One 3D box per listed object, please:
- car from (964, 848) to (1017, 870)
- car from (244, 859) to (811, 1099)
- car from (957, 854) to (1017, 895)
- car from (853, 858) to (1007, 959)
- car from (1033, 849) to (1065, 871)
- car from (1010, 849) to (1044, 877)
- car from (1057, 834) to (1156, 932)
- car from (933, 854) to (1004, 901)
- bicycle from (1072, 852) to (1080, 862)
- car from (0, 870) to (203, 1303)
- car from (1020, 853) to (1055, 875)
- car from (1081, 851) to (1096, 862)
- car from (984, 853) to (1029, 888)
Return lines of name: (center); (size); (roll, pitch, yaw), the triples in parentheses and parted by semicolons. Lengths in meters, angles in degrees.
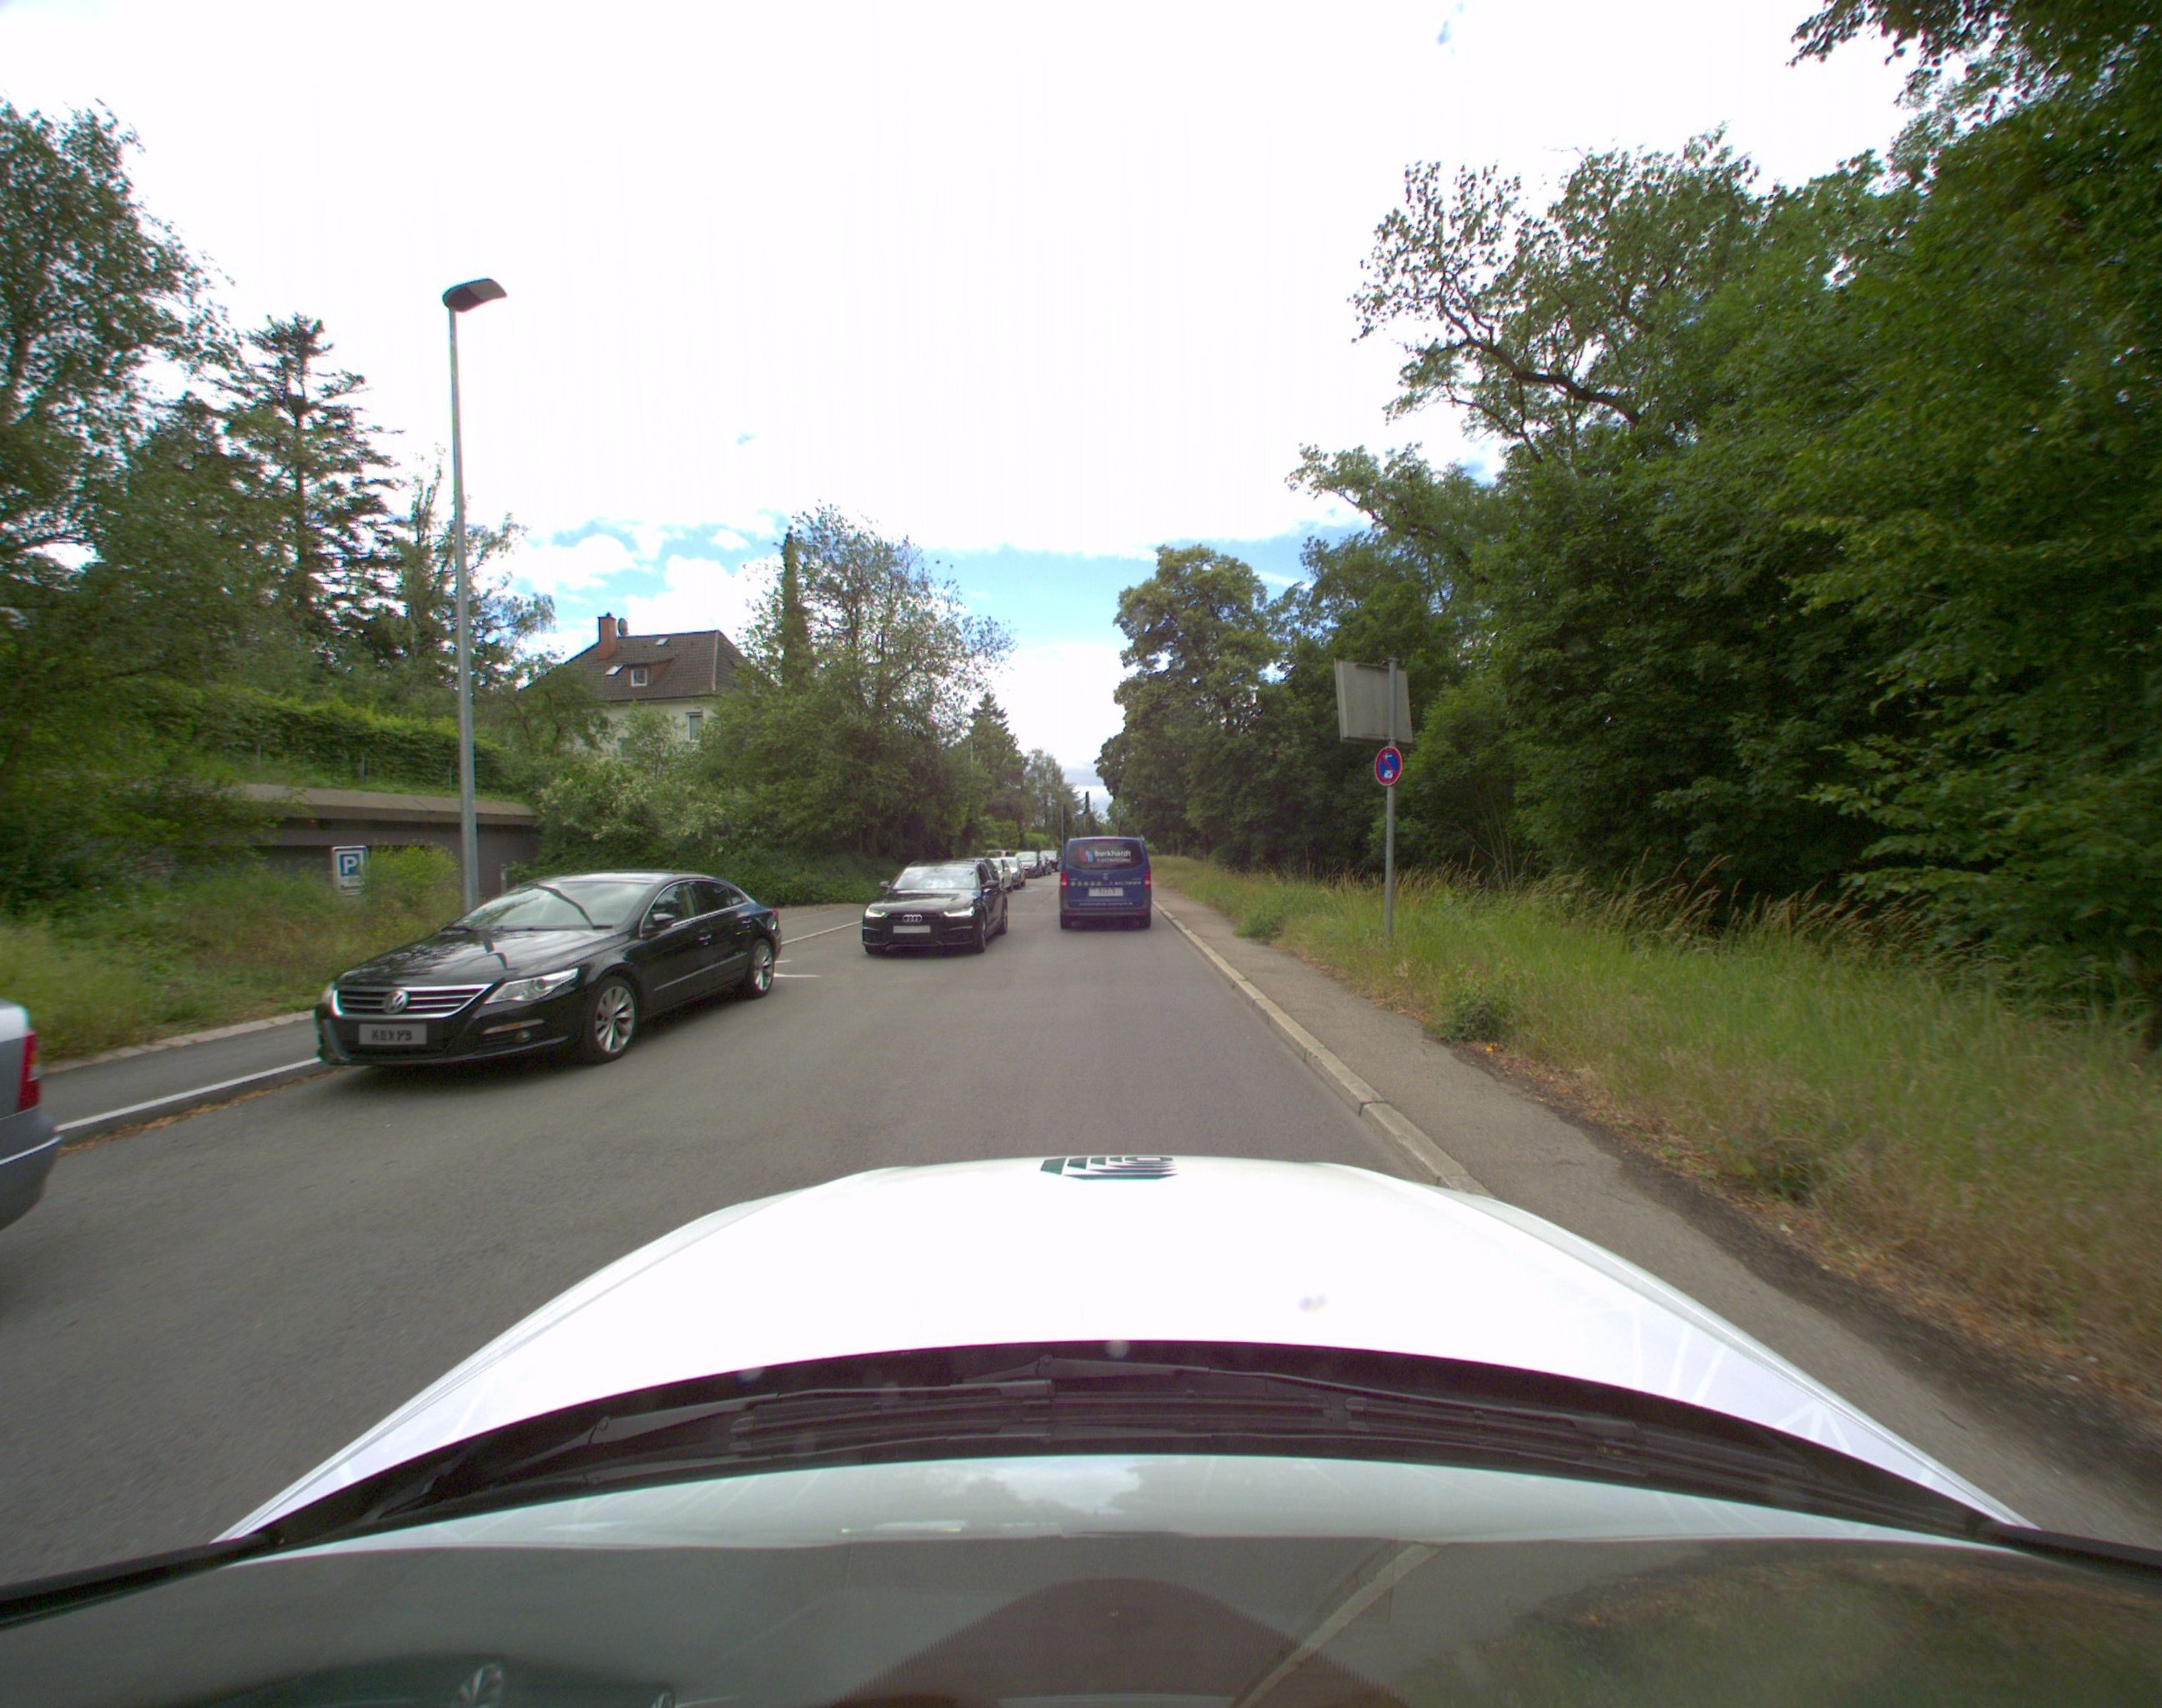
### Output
car: (-7.089, 0.384, 64.000); (3.665, 1.637, 1.835); (0, 0, 15)
car: (-4.310, 0.796, 7.649); (1.772, 1.432, 5.105); (-1, 0, 1)
car: (-3.688, 0.762, 32.591); (1.653, 1.452, 4.384); (-1, 0, 3)
car: (-2.403, 0.809, 14.124); (1.774, 1.426, 4.490); (-1, 0, 1)
car: (-2.570, 0.449, 66.771); (1.965, 1.737, 5.196); (0, 0, 4)
car: (-3.301, 0.529, 50.602); (1.725, 1.632, 4.570); (0, 0, 1)
car: (0.481, 0.531, 17.810); (1.883, 1.844, 3.999); (-2, 1, -1)
car: (-3.770, 0.755, 27.870); (1.616, 1.450, 3.973); (-1, 0, 3)
bicycle: (-0.710, 0.425, 115.152); (0.902, 1.252, 2.920); (2, 0, 5)
car: (-4.458, 0.812, 1.159); (1.618, 1.432, 4.351); (-2, 0, 1)
car: (-2.948, 0.641, 56.047); (1.746, 1.412, 4.904); (0, 0, 4)
car: (1.112, 0.337, 117.972); (1.827, 1.631, 4.306); (1, 0, 5)
car: (-3.423, 0.747, 38.193); (1.617, 1.450, 4.094); (2, 1, 1)
